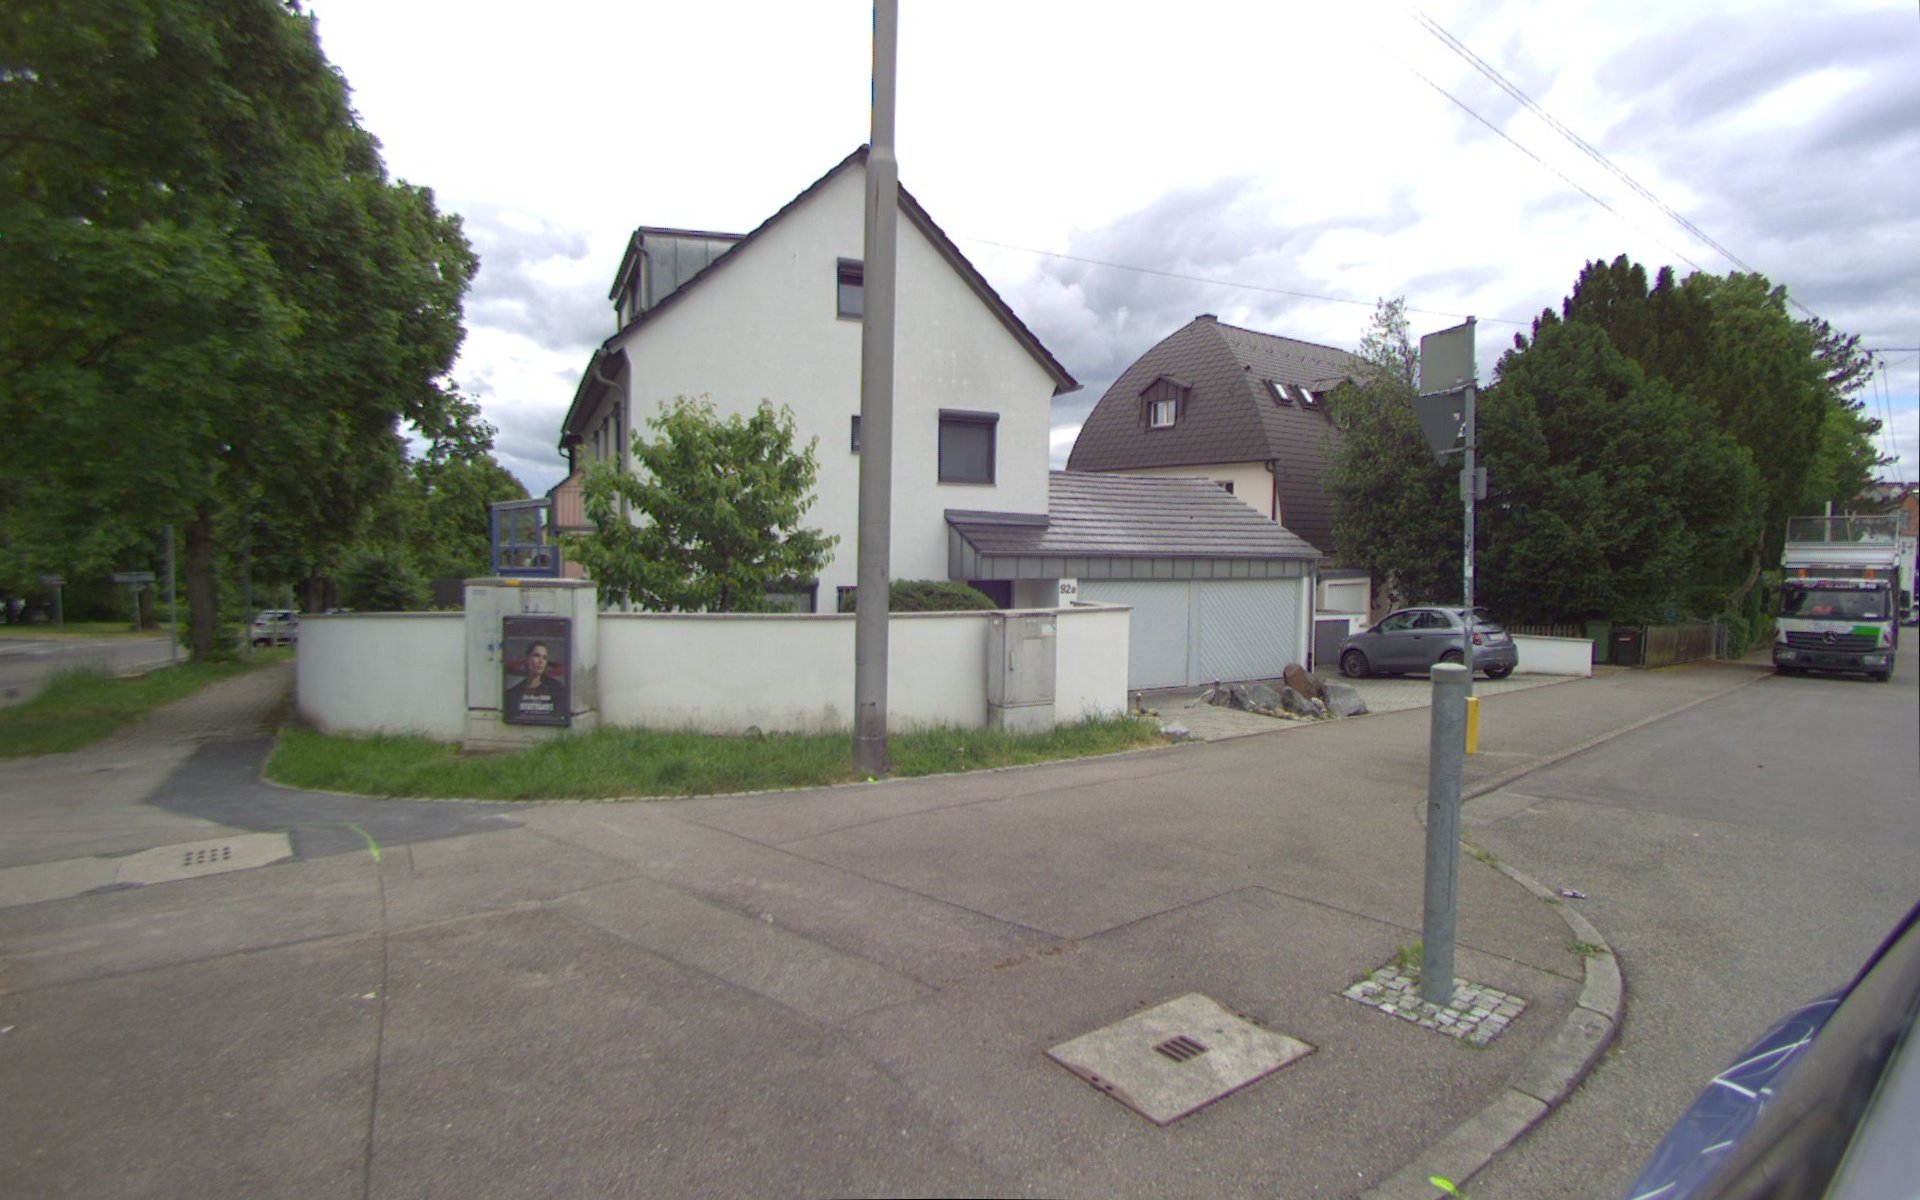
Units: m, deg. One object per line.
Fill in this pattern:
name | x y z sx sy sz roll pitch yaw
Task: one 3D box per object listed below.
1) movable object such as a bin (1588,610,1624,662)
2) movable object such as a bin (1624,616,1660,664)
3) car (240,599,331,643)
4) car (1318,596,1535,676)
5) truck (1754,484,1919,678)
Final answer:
movable object such as a bin | 15.755 0.883 24.693 0.597 1.223 0.937 -1 -4 42
movable object such as a bin | 16.372 0.961 24.305 0.597 1.119 0.937 -1 -4 42
car | -27.475 0.811 41.370 1.958 1.571 4.009 1 1 -16
car | 9.701 0.760 21.340 1.659 1.516 3.860 1 -2 -32
truck | 24.322 -0.504 27.888 3.144 4.607 7.831 4 2 42
